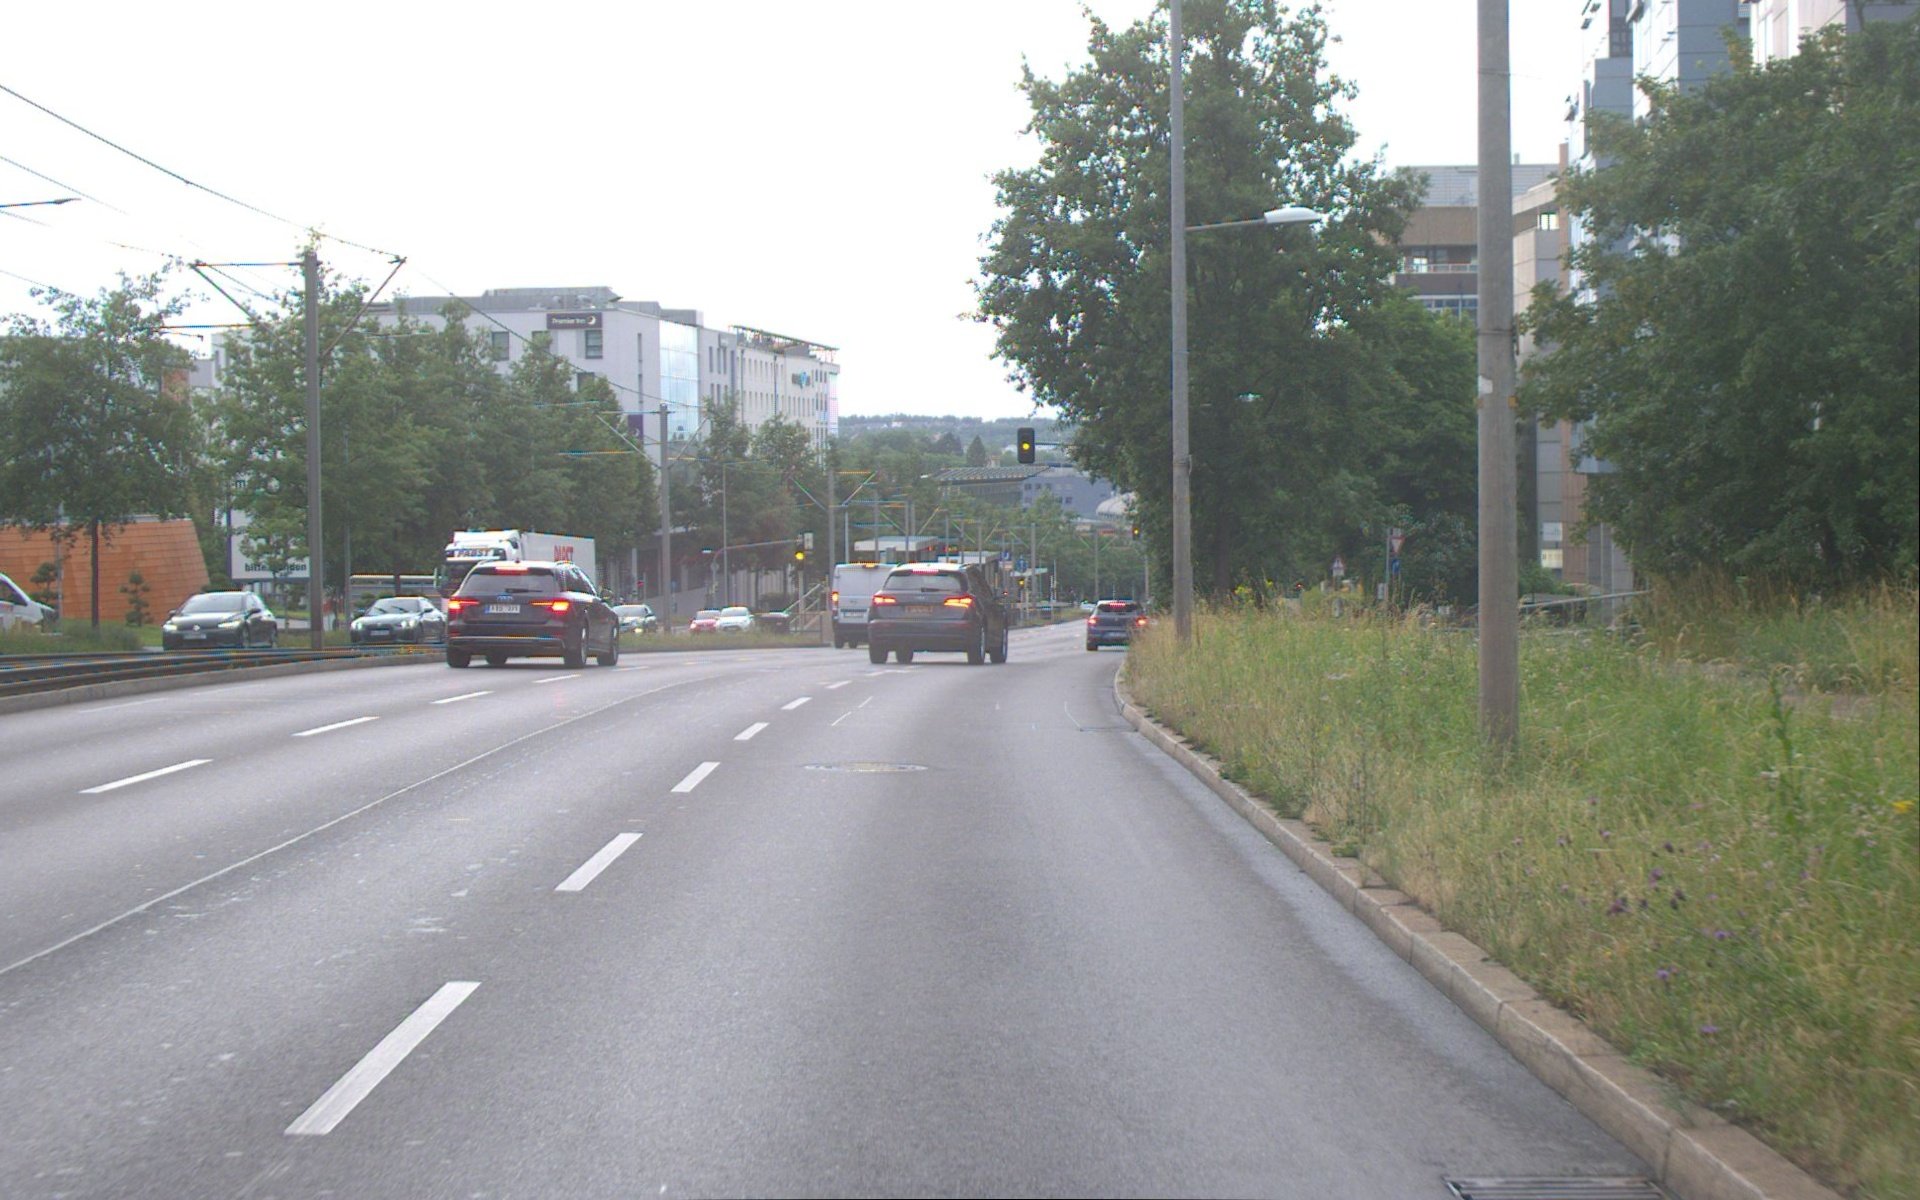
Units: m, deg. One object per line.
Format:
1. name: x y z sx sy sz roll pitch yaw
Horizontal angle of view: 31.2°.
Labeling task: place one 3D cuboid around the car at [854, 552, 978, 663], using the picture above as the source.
1. car: -0.694 0.087 56.664 1.922 1.705 4.098 1 1 0

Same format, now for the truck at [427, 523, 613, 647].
1. truck: -15.856 -0.577 125.558 3.042 4.166 17.198 1 1 5

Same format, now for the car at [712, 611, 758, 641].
1. car: -10.985 1.279 167.915 1.663 1.437 3.895 1 -1 5

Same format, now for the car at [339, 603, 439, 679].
1. car: -15.438 1.115 93.153 2.013 1.969 4.617 1 -1 -2

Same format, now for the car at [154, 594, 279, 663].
1. car: -16.435 0.651 76.181 1.667 1.457 4.238 1 -1 2

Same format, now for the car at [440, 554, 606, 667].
1. car: -5.802 0.102 46.107 1.785 1.409 4.806 1 1 -2

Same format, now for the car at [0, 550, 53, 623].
1. car: -31.868 -0.467 110.103 5.301 2.305 2.020 1 -1 -11

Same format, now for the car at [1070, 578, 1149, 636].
1. car: 4.250 0.192 98.351 1.789 1.585 4.001 -1 0 -4

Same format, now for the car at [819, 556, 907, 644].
1. car: -2.584 -0.030 92.827 2.268 2.277 4.760 1 1 -1
